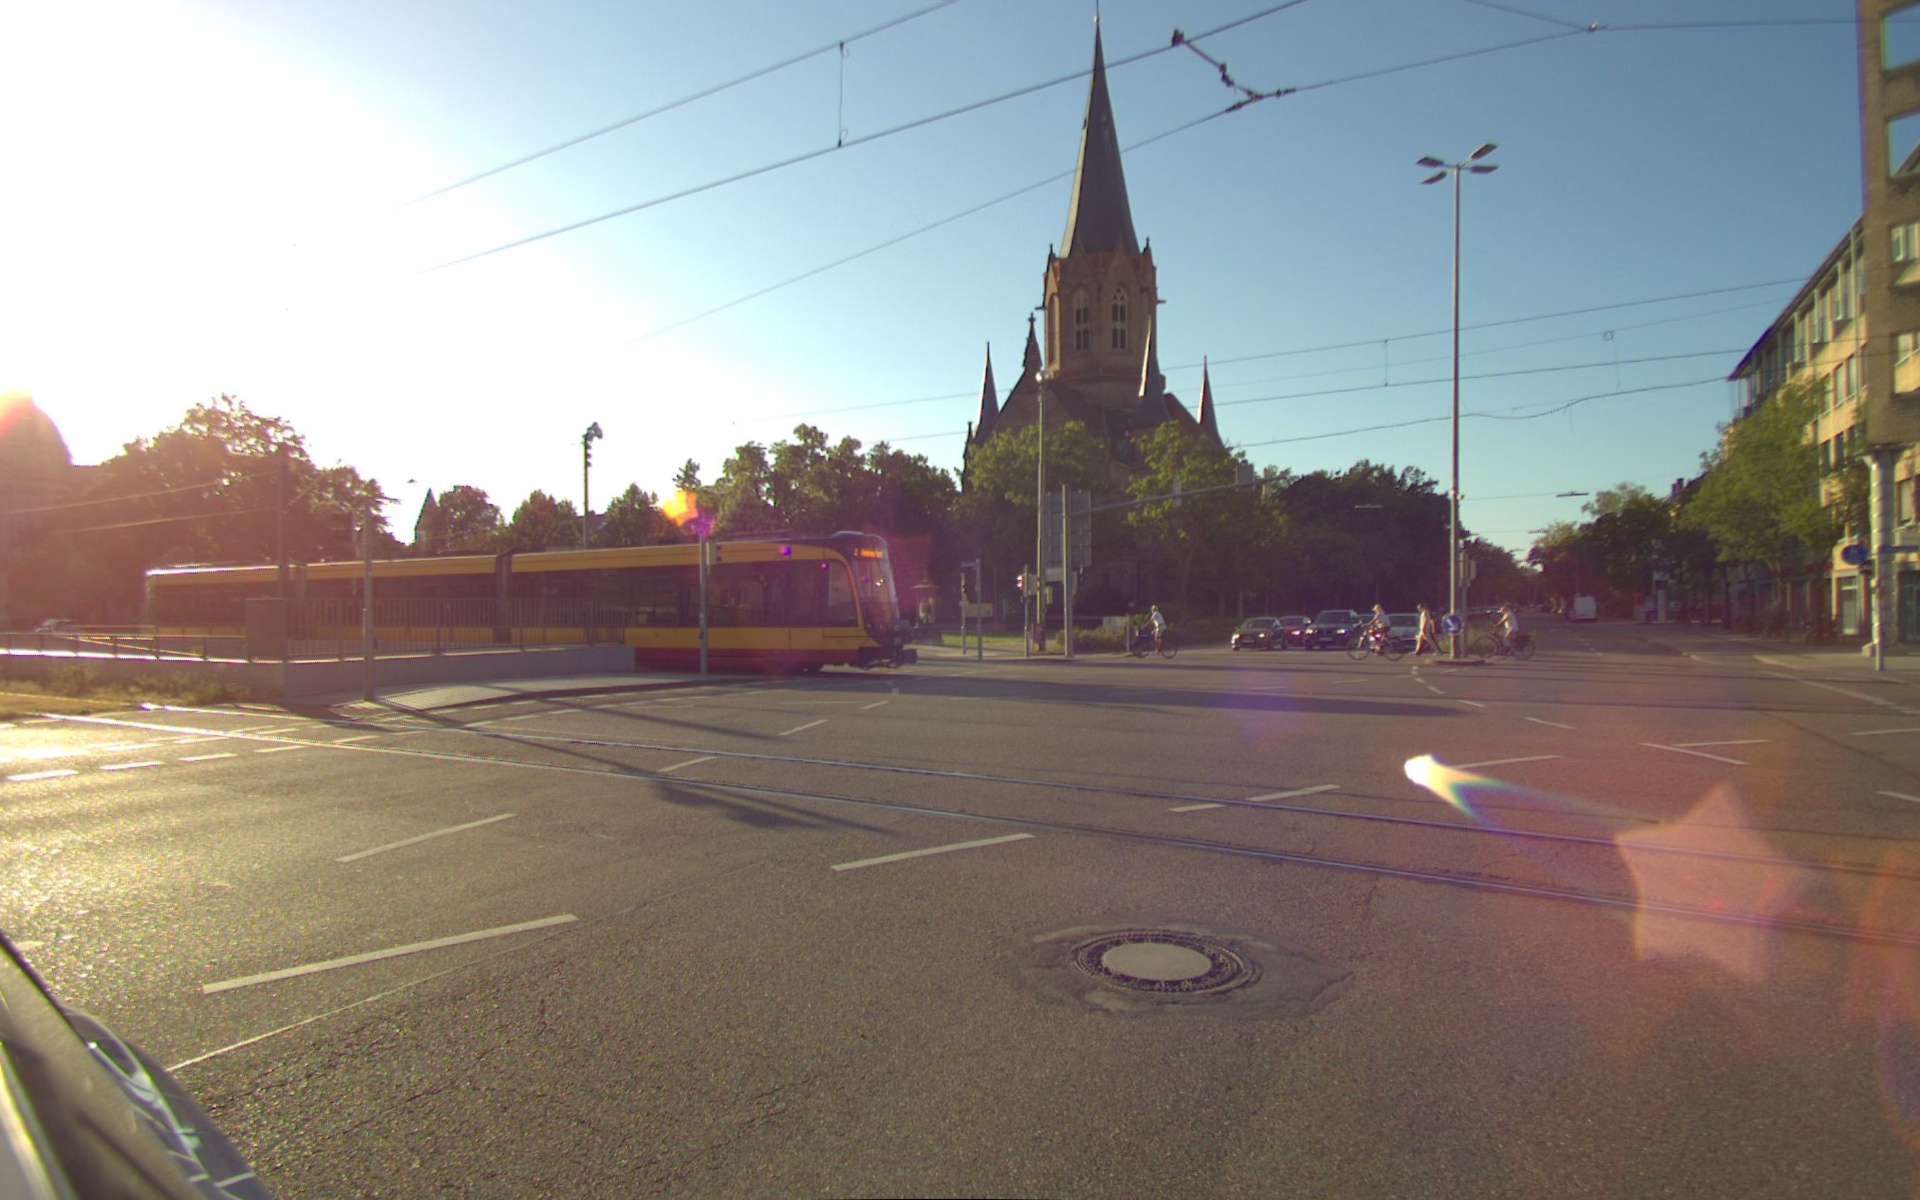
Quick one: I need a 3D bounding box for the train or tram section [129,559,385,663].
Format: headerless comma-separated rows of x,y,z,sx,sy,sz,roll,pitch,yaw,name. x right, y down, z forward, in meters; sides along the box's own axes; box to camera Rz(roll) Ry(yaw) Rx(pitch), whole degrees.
-27.356,0.475,38.977,13.198,3.563,2.754,-1,0,30,train or tram section

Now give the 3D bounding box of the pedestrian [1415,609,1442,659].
15.946,1.156,34.436,0.715,1.685,0.730,-1,-1,33,pedestrian

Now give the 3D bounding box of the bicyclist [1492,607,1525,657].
17.570,1.026,32.429,0.815,1.595,0.518,-1,0,20,bicyclist

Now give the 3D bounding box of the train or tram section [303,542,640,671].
-15.971,0.279,32.359,13.198,3.563,2.754,-1,0,30,train or tram section

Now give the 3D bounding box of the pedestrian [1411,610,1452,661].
15.680,1.170,33.646,1.102,1.685,0.730,-1,-1,33,pedestrian

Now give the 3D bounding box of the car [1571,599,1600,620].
63.908,0.973,103.425,2.224,2.029,4.555,-1,-1,29,car

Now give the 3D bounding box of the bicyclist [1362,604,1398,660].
13.189,1.001,31.815,0.893,1.693,0.567,-1,0,38,bicyclist

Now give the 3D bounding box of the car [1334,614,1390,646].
19.120,1.411,48.076,1.895,1.431,3.959,-1,-1,30,car

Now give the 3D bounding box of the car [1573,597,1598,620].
63.767,0.857,103.189,1.993,2.361,3.958,-1,-1,31,car

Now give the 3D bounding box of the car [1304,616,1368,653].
15.890,1.437,42.697,1.895,1.431,3.959,-1,-1,30,car

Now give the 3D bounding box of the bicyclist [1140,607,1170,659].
7.065,1.172,36.600,0.891,1.841,0.569,-1,0,30,bicyclist

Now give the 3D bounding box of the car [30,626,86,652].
-57.588,2.477,64.587,3.660,1.552,1.698,-1,-1,31,car

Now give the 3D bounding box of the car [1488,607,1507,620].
75.412,1.904,142.114,1.987,1.785,3.969,-1,-1,23,car

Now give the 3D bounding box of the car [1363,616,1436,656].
16.849,1.339,38.684,1.897,1.431,3.954,-1,-1,33,car

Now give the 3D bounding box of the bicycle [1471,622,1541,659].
17.486,1.302,32.454,1.905,1.155,0.456,-1,0,21,bicycle

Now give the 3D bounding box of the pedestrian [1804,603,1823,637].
40.025,0.948,47.452,0.580,1.567,0.736,-2,-1,37,pedestrian

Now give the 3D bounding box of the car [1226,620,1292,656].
13.126,1.626,44.298,1.895,1.431,3.959,-1,-1,30,car

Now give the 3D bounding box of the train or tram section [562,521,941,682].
-5.702,0.115,26.362,10.528,3.563,2.754,-1,0,30,train or tram section

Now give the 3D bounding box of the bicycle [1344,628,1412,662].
13.156,1.404,31.888,1.928,1.034,0.454,-1,0,39,bicycle

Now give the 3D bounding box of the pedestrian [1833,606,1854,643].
37.937,1.042,43.455,0.580,1.567,0.736,-2,-1,37,pedestrian

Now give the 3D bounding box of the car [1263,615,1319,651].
15.985,1.559,48.739,1.818,1.597,3.960,-1,-1,30,car

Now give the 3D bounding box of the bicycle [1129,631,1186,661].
7.130,1.669,36.585,1.922,1.034,0.520,-1,0,30,bicycle
